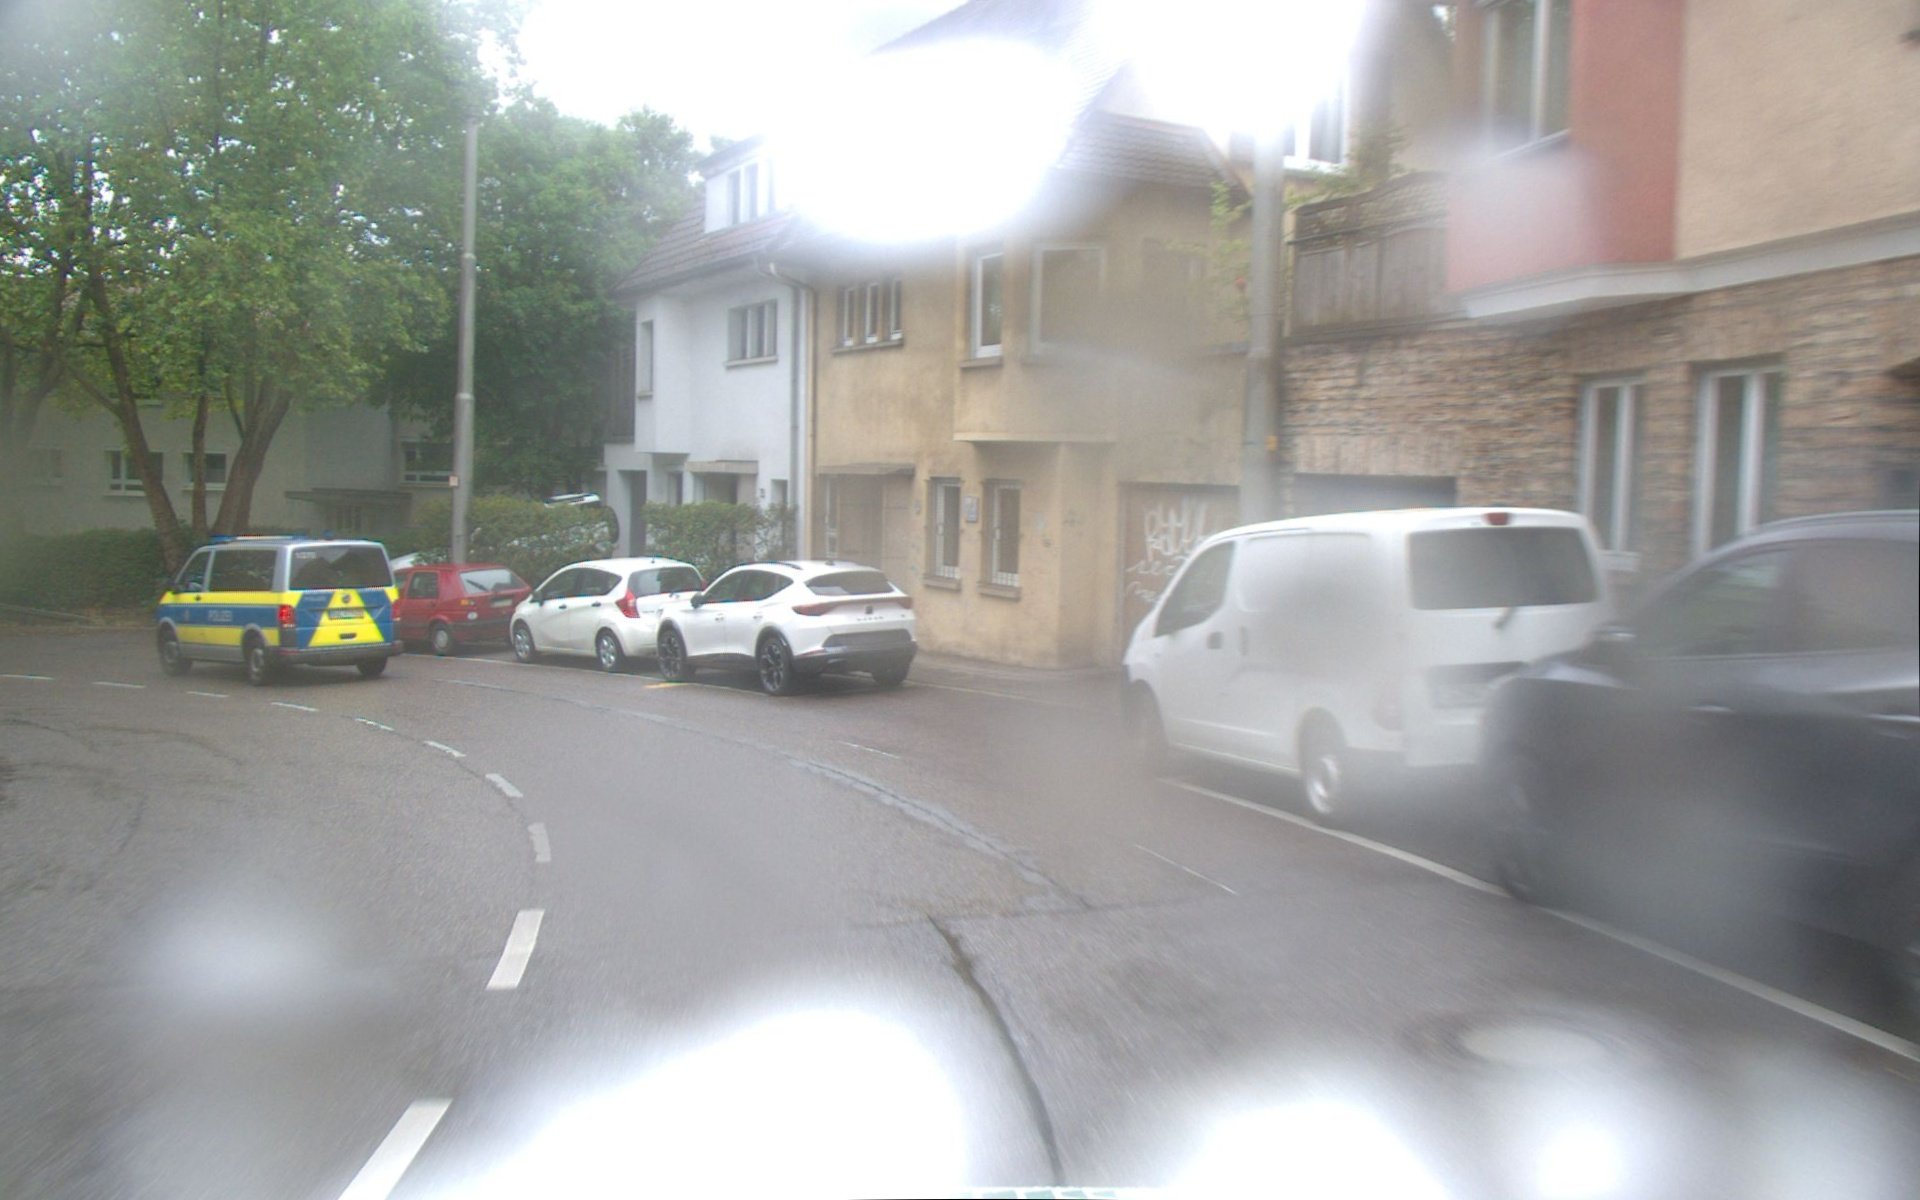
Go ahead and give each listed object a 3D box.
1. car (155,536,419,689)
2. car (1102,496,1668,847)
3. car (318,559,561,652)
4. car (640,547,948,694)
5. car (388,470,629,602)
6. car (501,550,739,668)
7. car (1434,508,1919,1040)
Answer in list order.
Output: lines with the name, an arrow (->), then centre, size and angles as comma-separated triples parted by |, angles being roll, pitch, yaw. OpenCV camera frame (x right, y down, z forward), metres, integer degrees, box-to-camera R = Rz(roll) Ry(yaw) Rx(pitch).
car -> -9.907, 0.082, 24.179 | 1.986, 1.925, 4.496 | -5, 5, -44
car -> 2.567, 0.316, 11.171 | 1.678, 1.822, 4.306 | -3, 2, -17
car -> -8.790, 0.099, 27.811 | 4.112, 1.390, 1.779 | -1, 3, 36
car -> -2.191, 0.194, 20.731 | 1.899, 1.565, 4.359 | -4, 3, -35
car -> -9.401, -1.388, 34.459 | 4.349, 1.871, 1.985 | -13, 9, -25
car -> -5.068, 0.105, 24.400 | 1.756, 1.541, 3.765 | -4, 3, -41
car -> 3.539, 0.496, 6.245 | 1.586, 1.632, 4.401 | 0, 2, -10
